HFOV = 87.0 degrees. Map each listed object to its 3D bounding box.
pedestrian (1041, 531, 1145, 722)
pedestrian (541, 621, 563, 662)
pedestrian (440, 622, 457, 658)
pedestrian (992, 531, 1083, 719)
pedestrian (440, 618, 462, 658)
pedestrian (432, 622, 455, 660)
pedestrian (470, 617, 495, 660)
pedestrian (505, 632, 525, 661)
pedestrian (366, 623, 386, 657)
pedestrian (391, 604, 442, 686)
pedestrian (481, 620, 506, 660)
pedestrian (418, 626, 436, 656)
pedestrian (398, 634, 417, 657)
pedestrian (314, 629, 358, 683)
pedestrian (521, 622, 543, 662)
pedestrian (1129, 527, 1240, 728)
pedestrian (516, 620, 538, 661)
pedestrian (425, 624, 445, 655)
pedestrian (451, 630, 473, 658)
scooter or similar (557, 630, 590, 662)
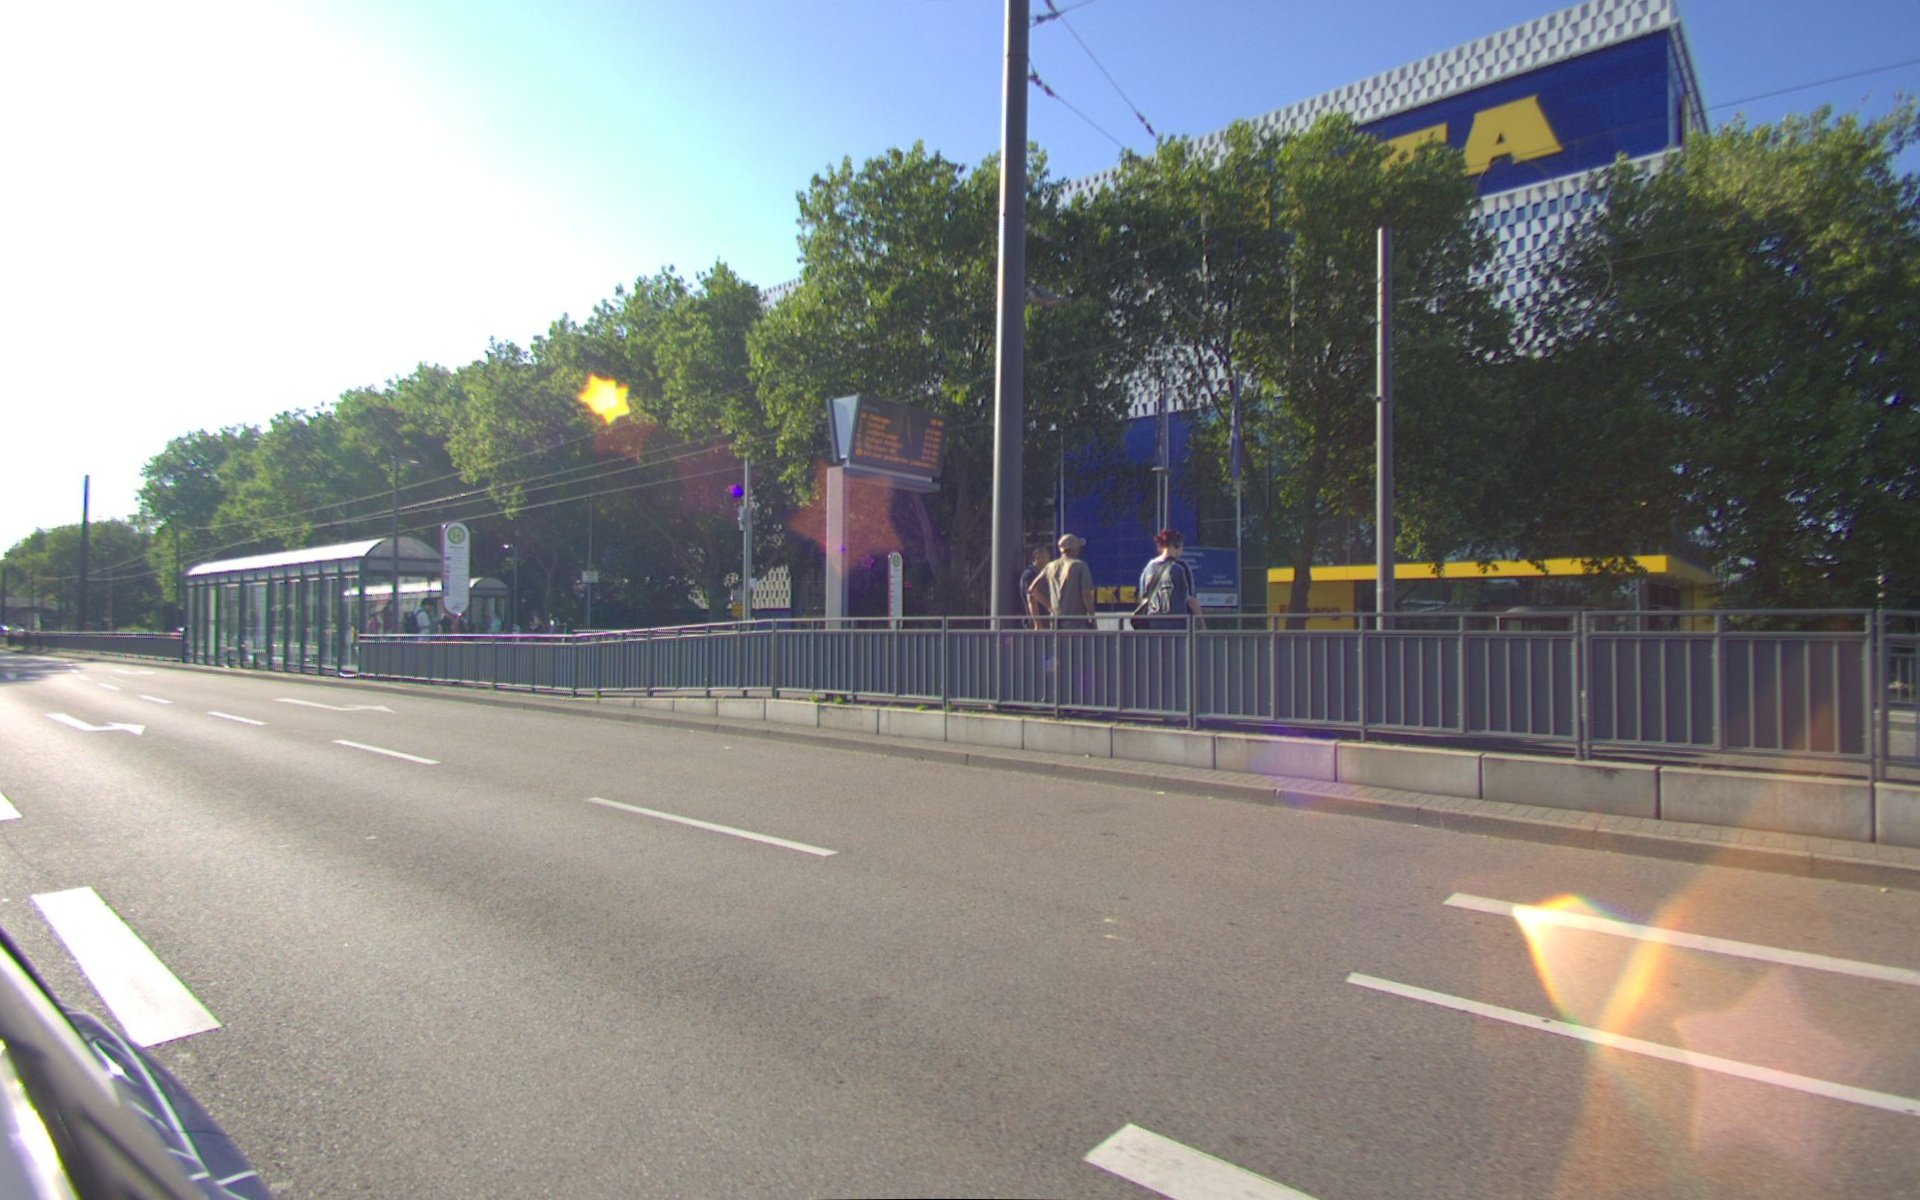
[{"bbox_3d":[1.242,0.234,9.489,0.760,1.706,0.528,-1,0,44],"label":"pedestrian"},{"bbox_3d":[-16.869,1.709,41.809,0.595,1.632,0.691,0,-1,-45],"label":"pedestrian"},{"bbox_3d":[-23.740,1.842,47.004,0.568,1.648,0.645,1,-2,-40],"label":"pedestrian"},{"bbox_3d":[0.771,0.232,10.041,0.698,1.788,0.536,-2,0,-44],"label":"pedestrian"},{"bbox_3d":[-22.960,1.711,45.614,0.685,1.755,0.646,-2,-1,42],"label":"pedestrian"},{"bbox_3d":[-22.807,1.816,44.721,0.777,1.645,0.653,-2,-1,43],"label":"pedestrian"},{"bbox_3d":[-21.216,1.705,44.947,0.685,1.834,0.725,-2,-1,34],"label":"pedestrian"},{"bbox_3d":[-19.069,1.990,43.393,0.595,1.234,0.617,0,-1,-45],"label":"pedestrian"},{"bbox_3d":[-30.618,2.093,53.072,0.678,1.723,0.753,-2,-3,43],"label":"pedestrian"},{"bbox_3d":[-11.751,0.960,21.872,0.821,1.729,0.687,-2,-1,37],"label":"pedestrian"},{"bbox_3d":[-20.552,1.774,44.580,0.685,1.704,0.726,-2,-1,31],"label":"pedestrian"},{"bbox_3d":[-26.116,2.000,49.613,0.543,1.479,0.609,-2,-2,34],"label":"pedestrian"},{"bbox_3d":[-28.439,2.331,52.069,0.624,1.171,0.671,-2,-2,39],"label":"pedestrian"},{"bbox_3d":[-14.953,1.326,24.250,0.878,1.241,0.673,-2,-1,42],"label":"pedestrian"},{"bbox_3d":[-18.098,1.763,42.779,0.644,1.632,0.635,0,-1,-45],"label":"pedestrian"},{"bbox_3d":[1.964,0.231,8.882,0.751,1.669,0.528,-2,0,44],"label":"pedestrian"},{"bbox_3d":[-18.464,1.724,43.122,0.644,1.732,0.635,0,-1,-45],"label":"pedestrian"},{"bbox_3d":[-25.562,1.931,49.254,0.574,1.503,0.664,-2,-2,29],"label":"pedestrian"},{"bbox_3d":[-22.957,2.016,46.641,0.685,1.262,0.646,-2,-1,39],"label":"pedestrian"},{"bbox_3d":[-15.390,1.825,40.299,1.371,1.244,0.657,-2,-2,41],"label":"scooter or similar"}]
